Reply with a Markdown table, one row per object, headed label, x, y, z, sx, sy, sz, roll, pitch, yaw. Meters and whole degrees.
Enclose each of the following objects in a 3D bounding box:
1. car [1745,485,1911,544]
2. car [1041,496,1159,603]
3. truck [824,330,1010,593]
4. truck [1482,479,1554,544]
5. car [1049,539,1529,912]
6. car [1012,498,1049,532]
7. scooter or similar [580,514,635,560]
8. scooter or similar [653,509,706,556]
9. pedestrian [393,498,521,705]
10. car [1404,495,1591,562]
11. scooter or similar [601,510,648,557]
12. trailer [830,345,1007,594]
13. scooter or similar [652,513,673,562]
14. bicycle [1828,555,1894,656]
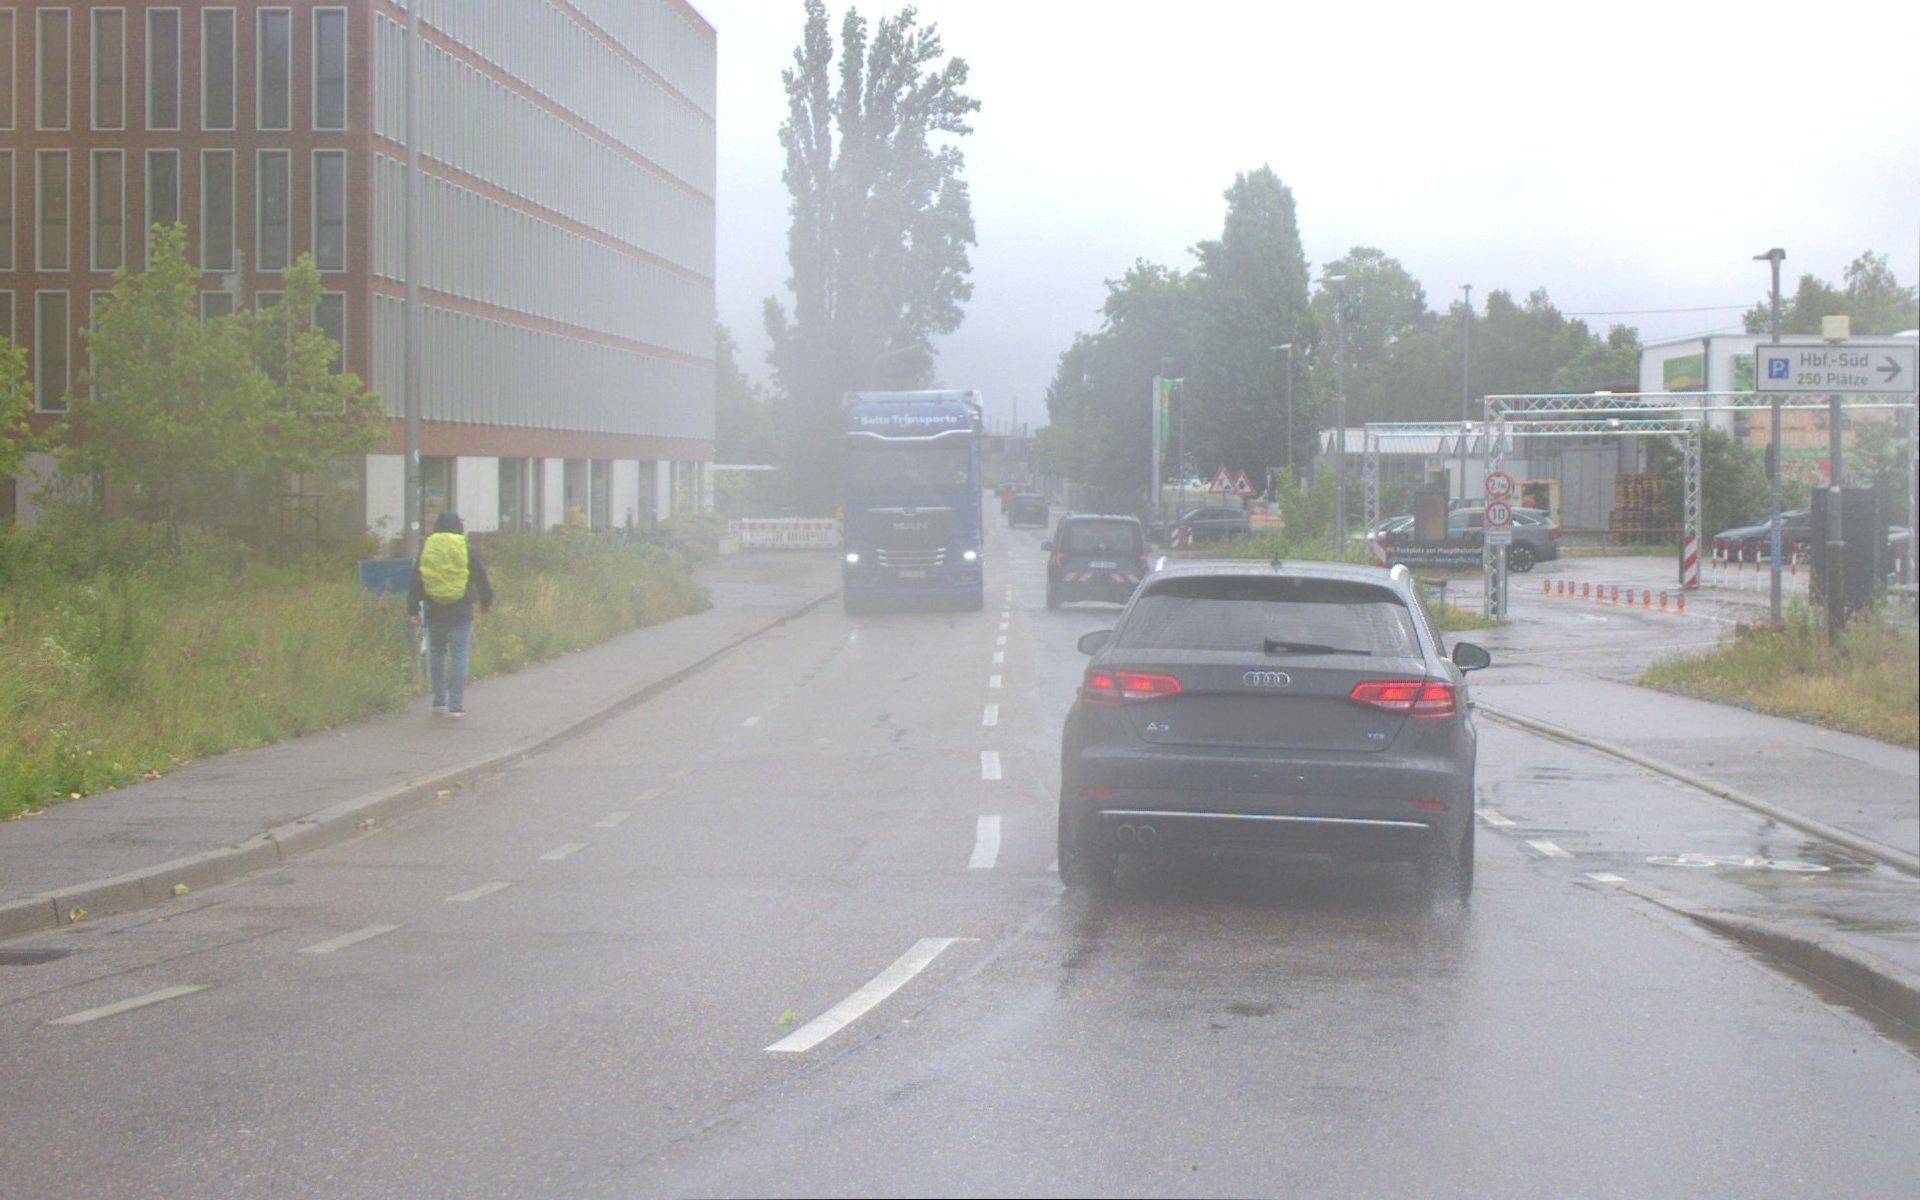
| label | x | y | z | sx | sy | sz | roll | pitch | yaw |
| --- | --- | --- | --- | --- | --- | --- | --- | --- | --- |
| car | 23.536 | -2.305 | 93.285 | 3.987 | 1.480 | 2.000 | 1 | 1 | 2 |
| car | 2.547 | -0.961 | 63.487 | 1.993 | 1.904 | 4.201 | 0 | 2 | 0 |
| truck | -0.807 | -2.542 | 64.000 | 3.294 | 4.637 | 6.034 | 0 | 2 | -1 |
| truck | 23.780 | -3.820 | 146.679 | 2.301 | 2.650 | 7.416 | -1 | 2 | 4 |
| car | 1.575 | 0.473 | 15.950 | 1.895 | 1.451 | 4.226 | 1 | 1 | 7 |
| car | 3.580 | -4.309 | 174.056 | 1.730 | 1.681 | 3.897 | 1 | 1 | 3 |
| scooter or similar | -8.961 | -1.607 | 87.478 | 1.317 | 1.173 | 0.467 | 0 | 2 | 7 |
| scooter or similar | -7.292 | -1.759 | 89.373 | 1.319 | 1.226 | 0.466 | 1 | 2 | 30 |
| pedestrian | -4.243 | 0.004 | 29.063 | 0.908 | 1.712 | 1.027 | 0 | 1 | 1 |
| car | 13.945 | -1.849 | 89.455 | 4.682 | 1.729 | 2.128 | 0 | 1 | 5 |
| scooter or similar | -8.778 | -1.746 | 89.890 | 0.467 | 1.226 | 1.205 | 2 | 3 | 43 |
| trailer | -0.875 | -2.629 | 71.016 | 3.294 | 4.637 | 13.735 | 0 | 2 | -1 |
| scooter or similar | -7.511 | -1.579 | 86.787 | 0.466 | 1.226 | 1.321 | 0 | 2 | -2 |
| bicycle | 10.091 | 0.048 | 38.494 | 0.507 | 1.080 | 1.701 | 0 | 2 | 22 |
